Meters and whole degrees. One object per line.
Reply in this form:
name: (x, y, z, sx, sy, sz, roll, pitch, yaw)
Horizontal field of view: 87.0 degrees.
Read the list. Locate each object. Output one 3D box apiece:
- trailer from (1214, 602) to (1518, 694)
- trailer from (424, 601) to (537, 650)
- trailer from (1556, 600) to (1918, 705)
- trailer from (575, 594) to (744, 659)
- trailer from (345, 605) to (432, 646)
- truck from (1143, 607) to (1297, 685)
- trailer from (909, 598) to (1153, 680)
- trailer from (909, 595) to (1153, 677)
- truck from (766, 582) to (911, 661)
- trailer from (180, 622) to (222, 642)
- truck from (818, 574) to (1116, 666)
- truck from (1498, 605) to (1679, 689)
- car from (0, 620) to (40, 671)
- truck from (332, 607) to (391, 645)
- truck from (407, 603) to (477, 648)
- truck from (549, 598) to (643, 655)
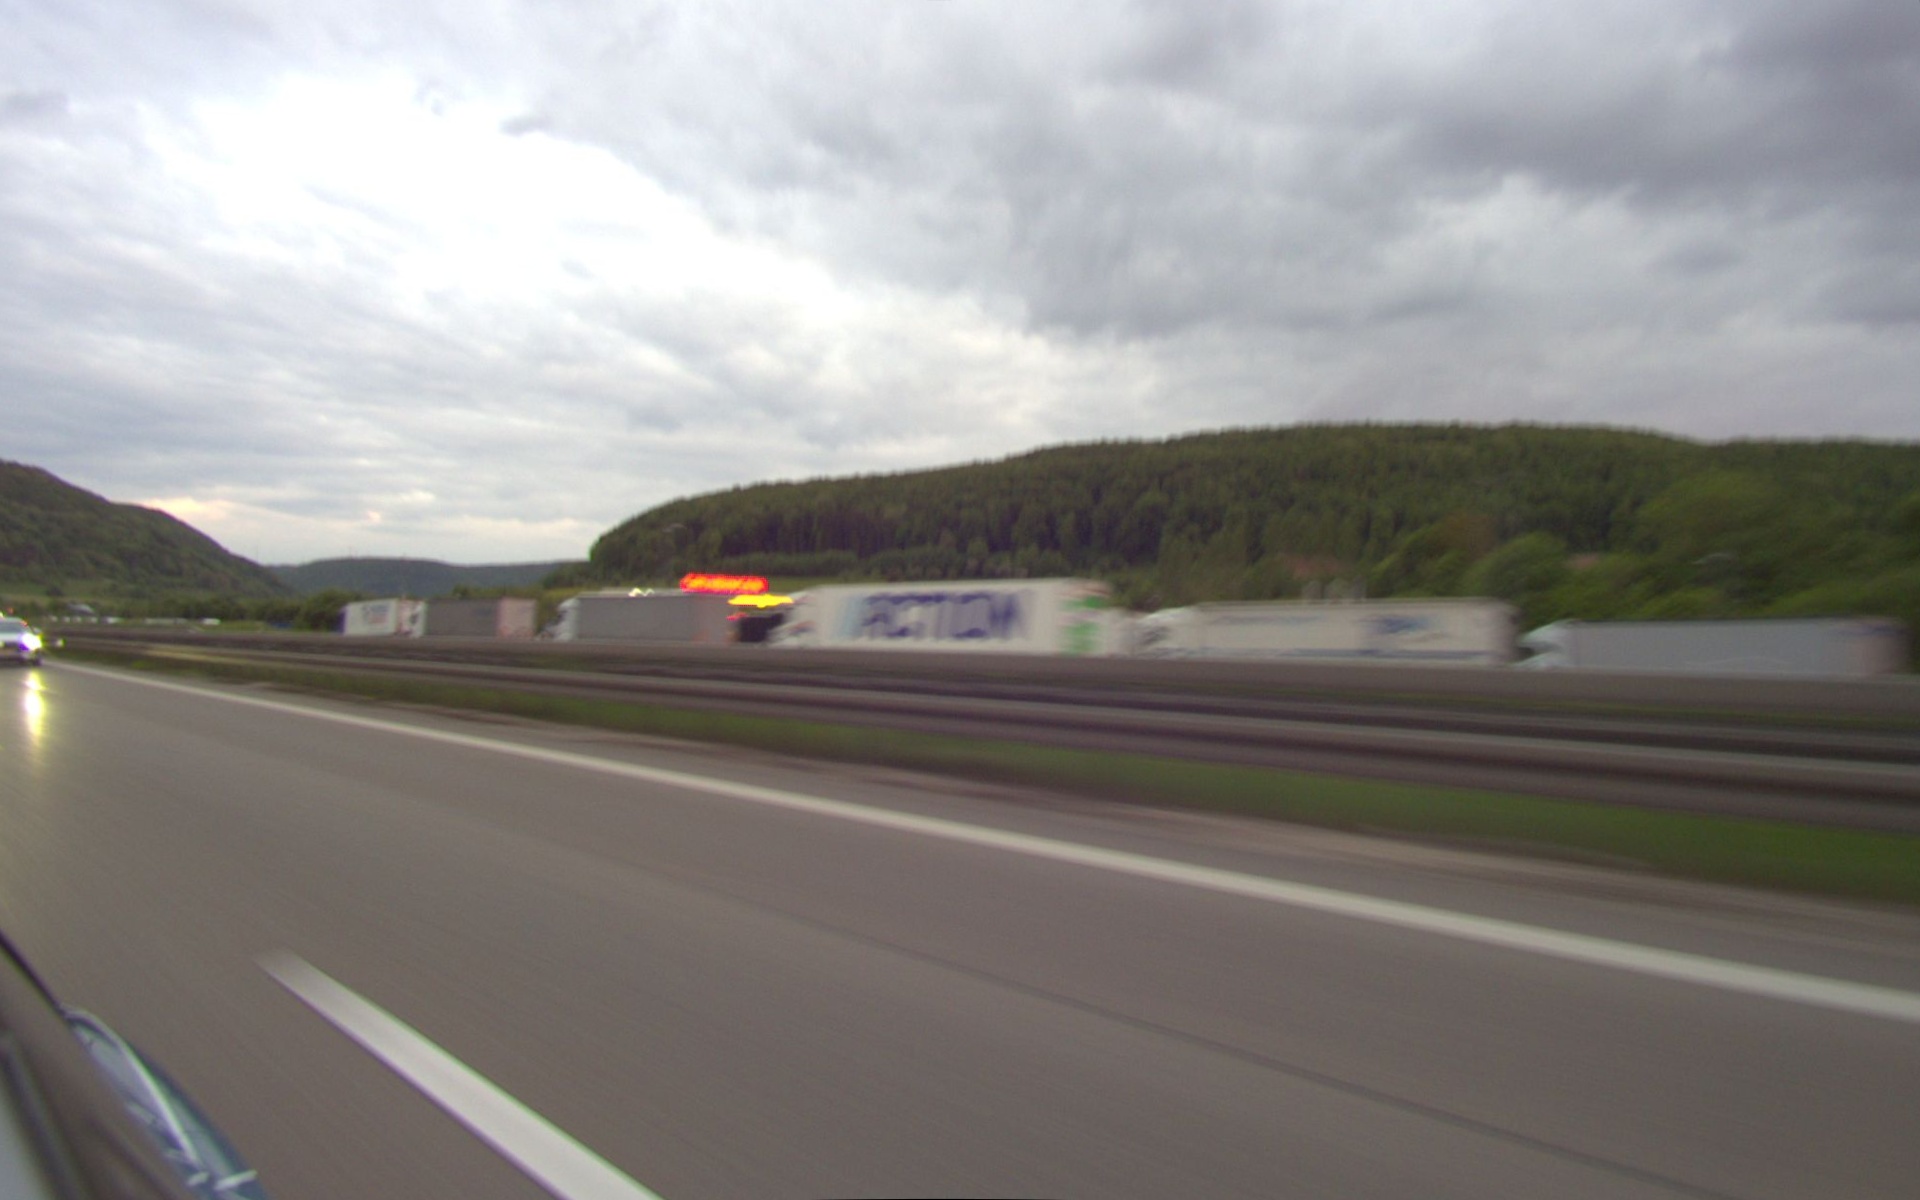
trailer: (18.143, 2.091, 46.452, 12.713, 3.707, 2.843, -2, -2, 42)
trailer: (-36.482, 1.914, 76.556, 13.568, 3.451, 2.842, -2, -2, 42)
trailer: (35.179, 2.274, 47.359, 3.235, 4.137, 14.484, 1, -2, -14)
trailer: (-17.999, 1.554, 59.623, 13.847, 3.451, 2.842, -2, -2, 42)
trailer: (-50.873, 2.266, 89.787, 13.223, 3.451, 2.842, -2, -2, 43)
truck: (13.038, 2.235, 51.124, 7.027, 3.668, 2.842, -2, -2, 43)
trailer: (3.651, 2.212, 59.723, 15.942, 4.292, 2.985, -1, -2, 42)
trailer: (3.651, 2.070, 59.726, 15.942, 4.292, 2.985, -1, -2, 42)
truck: (-5.766, 1.022, 47.504, 6.716, 3.451, 2.846, -1, -2, 38)
trailer: (-119.982, 5.003, 159.858, 11.151, 3.112, 2.838, -1, -2, 40)
truck: (-0.136, 0.890, 43.159, 13.767, 3.451, 2.847, -1, -2, 37)
truck: (33.447, 2.438, 54.387, 3.235, 4.137, 8.238, 1, -2, -14)
car: (-30.663, 1.408, 32.003, 5.035, 1.512, 1.771, -1, -1, 41)
truck: (-55.875, 2.435, 94.451, 7.174, 3.401, 2.842, -2, -2, 43)
truck: (-41.599, 2.065, 81.253, 6.725, 3.451, 2.842, -2, -2, 42)
truck: (-23.200, 1.694, 64.393, 6.725, 3.451, 2.842, -2, -2, 43)
